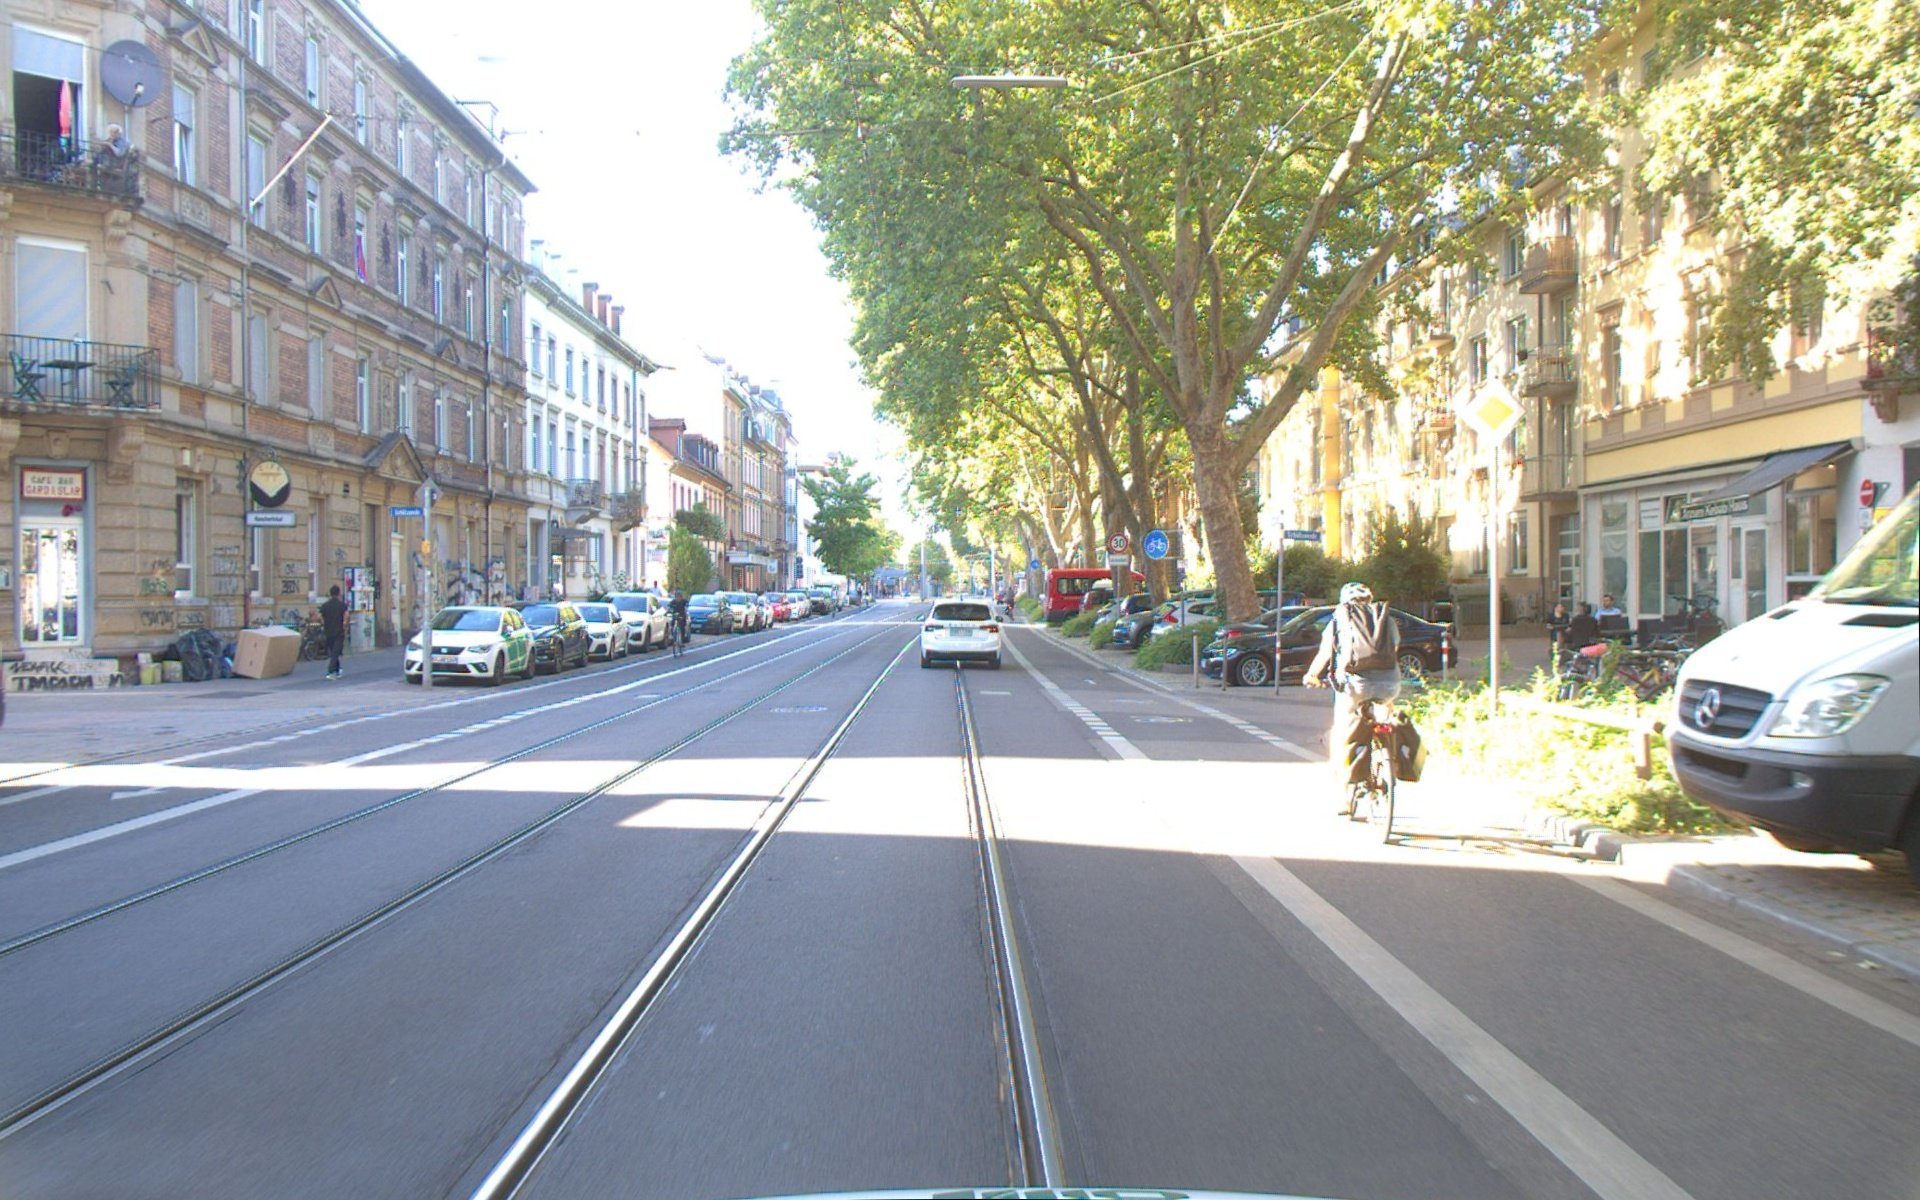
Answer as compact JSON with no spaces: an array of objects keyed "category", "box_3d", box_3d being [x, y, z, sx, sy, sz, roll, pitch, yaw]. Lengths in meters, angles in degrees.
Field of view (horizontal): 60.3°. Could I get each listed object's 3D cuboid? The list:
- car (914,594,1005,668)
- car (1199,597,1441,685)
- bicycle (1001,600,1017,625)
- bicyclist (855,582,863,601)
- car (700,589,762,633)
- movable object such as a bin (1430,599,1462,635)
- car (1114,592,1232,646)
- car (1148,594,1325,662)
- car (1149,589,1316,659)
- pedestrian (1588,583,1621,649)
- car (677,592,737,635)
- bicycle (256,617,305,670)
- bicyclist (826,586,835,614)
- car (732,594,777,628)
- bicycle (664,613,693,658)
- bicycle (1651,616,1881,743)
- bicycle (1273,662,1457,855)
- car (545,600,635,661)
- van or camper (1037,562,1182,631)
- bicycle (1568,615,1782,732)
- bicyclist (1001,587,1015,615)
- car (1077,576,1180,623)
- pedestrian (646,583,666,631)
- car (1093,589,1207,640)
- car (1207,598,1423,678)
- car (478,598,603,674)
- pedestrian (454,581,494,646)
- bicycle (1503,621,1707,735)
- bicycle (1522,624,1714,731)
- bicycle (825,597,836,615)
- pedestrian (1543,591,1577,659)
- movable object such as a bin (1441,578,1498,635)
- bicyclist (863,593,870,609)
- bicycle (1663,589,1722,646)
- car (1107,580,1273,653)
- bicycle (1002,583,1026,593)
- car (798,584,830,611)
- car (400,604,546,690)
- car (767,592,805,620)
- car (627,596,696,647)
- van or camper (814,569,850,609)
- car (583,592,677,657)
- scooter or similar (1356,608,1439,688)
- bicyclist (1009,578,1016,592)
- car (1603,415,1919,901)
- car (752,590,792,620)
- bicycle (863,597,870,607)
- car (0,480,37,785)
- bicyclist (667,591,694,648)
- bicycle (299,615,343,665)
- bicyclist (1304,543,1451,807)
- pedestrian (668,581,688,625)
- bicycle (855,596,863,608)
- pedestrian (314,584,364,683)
[{"category":"car","box_3d":[-0.058,0.627,35.635,1.805,1.506,3.836,1,0,-2]},{"category":"car","box_3d":[6.542,0.723,30.343,4.014,1.517,1.830,-1,0,-3]},{"category":"bicycle","box_3d":[2.389,0.602,81.341,0.666,1.175,2.964,1,0,0]},{"category":"bicyclist","box_3d":[-9.139,-0.772,149.873,0.524,1.663,0.897,-2,0,2]},{"category":"car","box_3d":[-9.429,0.430,68.485,1.818,1.733,4.763,-1,0,1]},{"category":"movable object such as a bin","box_3d":[13.536,0.480,46.040,0.732,0.959,0.465,-2,0,0]},{"category":"car","box_3d":[6.709,0.606,52.224,3.521,1.627,1.541,-1,-1,0]},{"category":"car","box_3d":[6.605,0.647,39.773,3.946,1.506,1.681,-1,0,-2]},{"category":"car","box_3d":[6.931,0.596,42.317,3.947,1.672,1.681,-1,0,-2]},{"category":"pedestrian","box_3d":[13.406,0.324,34.407,0.477,1.351,0.684,0,0,36]},{"category":"car","box_3d":[-9.611,0.502,62.981,1.521,1.542,3.925,-1,0,2]},{"category":"bicycle","box_3d":[-14.475,0.908,35.247,0.365,1.052,1.847,-1,0,-3]},{"category":"bicyclist","box_3d":[-7.859,-0.012,100.198,0.463,1.664,0.800,-1,0,0]},{"category":"car","box_3d":[-9.825,0.507,79.310,1.652,1.502,4.257,1,0,0]},{"category":"bicycle","box_3d":[-7.550,0.931,44.349,0.412,1.170,2.231,-1,0,-1]},{"category":"bicycle","box_3d":[7.893,0.762,16.279,2.000,1.199,0.413,0,-1,21]},{"category":"bicycle","box_3d":[2.658,0.995,11.136,0.583,1.022,2.511,2,0,0]},{"category":"car","box_3d":[-9.475,0.753,42.620,1.666,1.445,3.996,1,0,-4]},{"category":"van or camper","box_3d":[6.174,-0.177,68.995,5.699,2.562,2.287,-2,1,-3]},{"category":"bicycle","box_3d":[7.436,0.752,17.249,1.998,1.199,0.413,0,-1,8]},{"category":"bicyclist","box_3d":[2.376,0.039,81.497,0.665,1.362,0.525,1,0,0]},{"category":"car","box_3d":[6.534,-0.011,64.370,3.742,1.678,1.766,-2,-1,-3]},{"category":"pedestrian","box_3d":[-13.090,0.284,71.267,0.744,2.049,0.829,0,0,-2]},{"category":"car","box_3d":[6.251,0.472,54.627,3.522,1.544,1.693,-2,0,0]},{"category":"car","box_3d":[7.031,0.747,33.020,4.010,1.517,1.682,-1,0,4]},{"category":"car","box_3d":[-9.421,0.755,37.485,1.705,1.589,4.785,1,0,-1]},{"category":"pedestrian","box_3d":[-12.909,0.354,43.972,0.650,1.694,0.767,1,0,31]},{"category":"bicycle","box_3d":[6.919,0.831,17.803,1.998,1.199,0.413,0,-1,8]},{"category":"bicycle","box_3d":[7.508,0.880,18.929,1.998,1.199,0.413,0,-1,8]},{"category":"bicycle","box_3d":[-7.845,0.361,100.224,0.471,1.105,1.846,-1,0,1]},{"category":"pedestrian","box_3d":[12.479,0.512,34.386,0.476,1.399,1.054,0,0,30]},{"category":"movable object such as a bin","box_3d":[13.617,0.177,44.235,1.143,1.462,1.117,-2,0,0]},{"category":"bicyclist","box_3d":[-8.868,0.086,156.999,0.625,1.529,1.070,-2,0,1]},{"category":"bicycle","box_3d":[15.812,0.368,35.747,0.460,1.176,1.746,-2,1,0]},{"category":"car","box_3d":[6.278,0.432,45.344,4.177,1.748,1.848,-3,0,-3]},{"category":"bicycle","box_3d":[6.111,-1.345,187.608,2.711,1.017,0.593,1,0,15]},{"category":"car","box_3d":[-10.213,-0.175,116.076,1.925,1.812,4.936,2,0,-2]},{"category":"car","box_3d":[-9.393,0.867,32.221,1.705,1.518,4.044,1,0,-1]},{"category":"car","box_3d":[-9.962,0.305,94.953,1.790,1.529,4.686,1,0,-2]},{"category":"car","box_3d":[-9.602,0.674,53.480,1.629,1.547,4.062,1,0,-2]},{"category":"van or camper","box_3d":[-10.469,-0.870,135.412,2.171,3.195,7.115,0,0,1]},{"category":"car","box_3d":[-9.515,0.673,48.033,1.750,1.753,4.718,1,0,0]},{"category":"scooter or similar","box_3d":[7.096,0.770,26.845,1.279,1.277,0.341,0,0,13]},{"category":"bicyclist","box_3d":[5.977,-1.704,187.680,0.721,1.616,0.587,-1,0,12]},{"category":"car","box_3d":[6.781,0.229,8.886,5.867,2.322,2.006,-1,1,1]},{"category":"car","box_3d":[-10.150,0.252,89.353,1.536,1.590,3.450,-1,0,4]},{"category":"bicycle","box_3d":[-8.893,0.197,156.854,0.488,0.959,1.922,-2,0,2]},{"category":"car","box_3d":[-9.193,0.292,11.710,2.022,2.580,5.668,0,0,1]},{"category":"bicyclist","box_3d":[-7.470,0.518,44.237,0.570,1.508,0.807,-1,0,-1]},{"category":"bicycle","box_3d":[-14.444,0.892,37.425,0.365,1.052,1.847,-1,0,-3]},{"category":"bicyclist","box_3d":[2.659,0.457,10.619,0.602,1.579,0.935,4,0,0]},{"category":"pedestrian","box_3d":[-12.153,0.123,71.174,0.744,1.853,0.829,0,0,-3]},{"category":"bicycle","box_3d":[-9.128,0.172,149.736,0.474,1.065,2.040,-2,0,2]},{"category":"pedestrian","box_3d":[-11.749,0.623,31.311,0.671,1.832,1.055,1,0,-9]}]
